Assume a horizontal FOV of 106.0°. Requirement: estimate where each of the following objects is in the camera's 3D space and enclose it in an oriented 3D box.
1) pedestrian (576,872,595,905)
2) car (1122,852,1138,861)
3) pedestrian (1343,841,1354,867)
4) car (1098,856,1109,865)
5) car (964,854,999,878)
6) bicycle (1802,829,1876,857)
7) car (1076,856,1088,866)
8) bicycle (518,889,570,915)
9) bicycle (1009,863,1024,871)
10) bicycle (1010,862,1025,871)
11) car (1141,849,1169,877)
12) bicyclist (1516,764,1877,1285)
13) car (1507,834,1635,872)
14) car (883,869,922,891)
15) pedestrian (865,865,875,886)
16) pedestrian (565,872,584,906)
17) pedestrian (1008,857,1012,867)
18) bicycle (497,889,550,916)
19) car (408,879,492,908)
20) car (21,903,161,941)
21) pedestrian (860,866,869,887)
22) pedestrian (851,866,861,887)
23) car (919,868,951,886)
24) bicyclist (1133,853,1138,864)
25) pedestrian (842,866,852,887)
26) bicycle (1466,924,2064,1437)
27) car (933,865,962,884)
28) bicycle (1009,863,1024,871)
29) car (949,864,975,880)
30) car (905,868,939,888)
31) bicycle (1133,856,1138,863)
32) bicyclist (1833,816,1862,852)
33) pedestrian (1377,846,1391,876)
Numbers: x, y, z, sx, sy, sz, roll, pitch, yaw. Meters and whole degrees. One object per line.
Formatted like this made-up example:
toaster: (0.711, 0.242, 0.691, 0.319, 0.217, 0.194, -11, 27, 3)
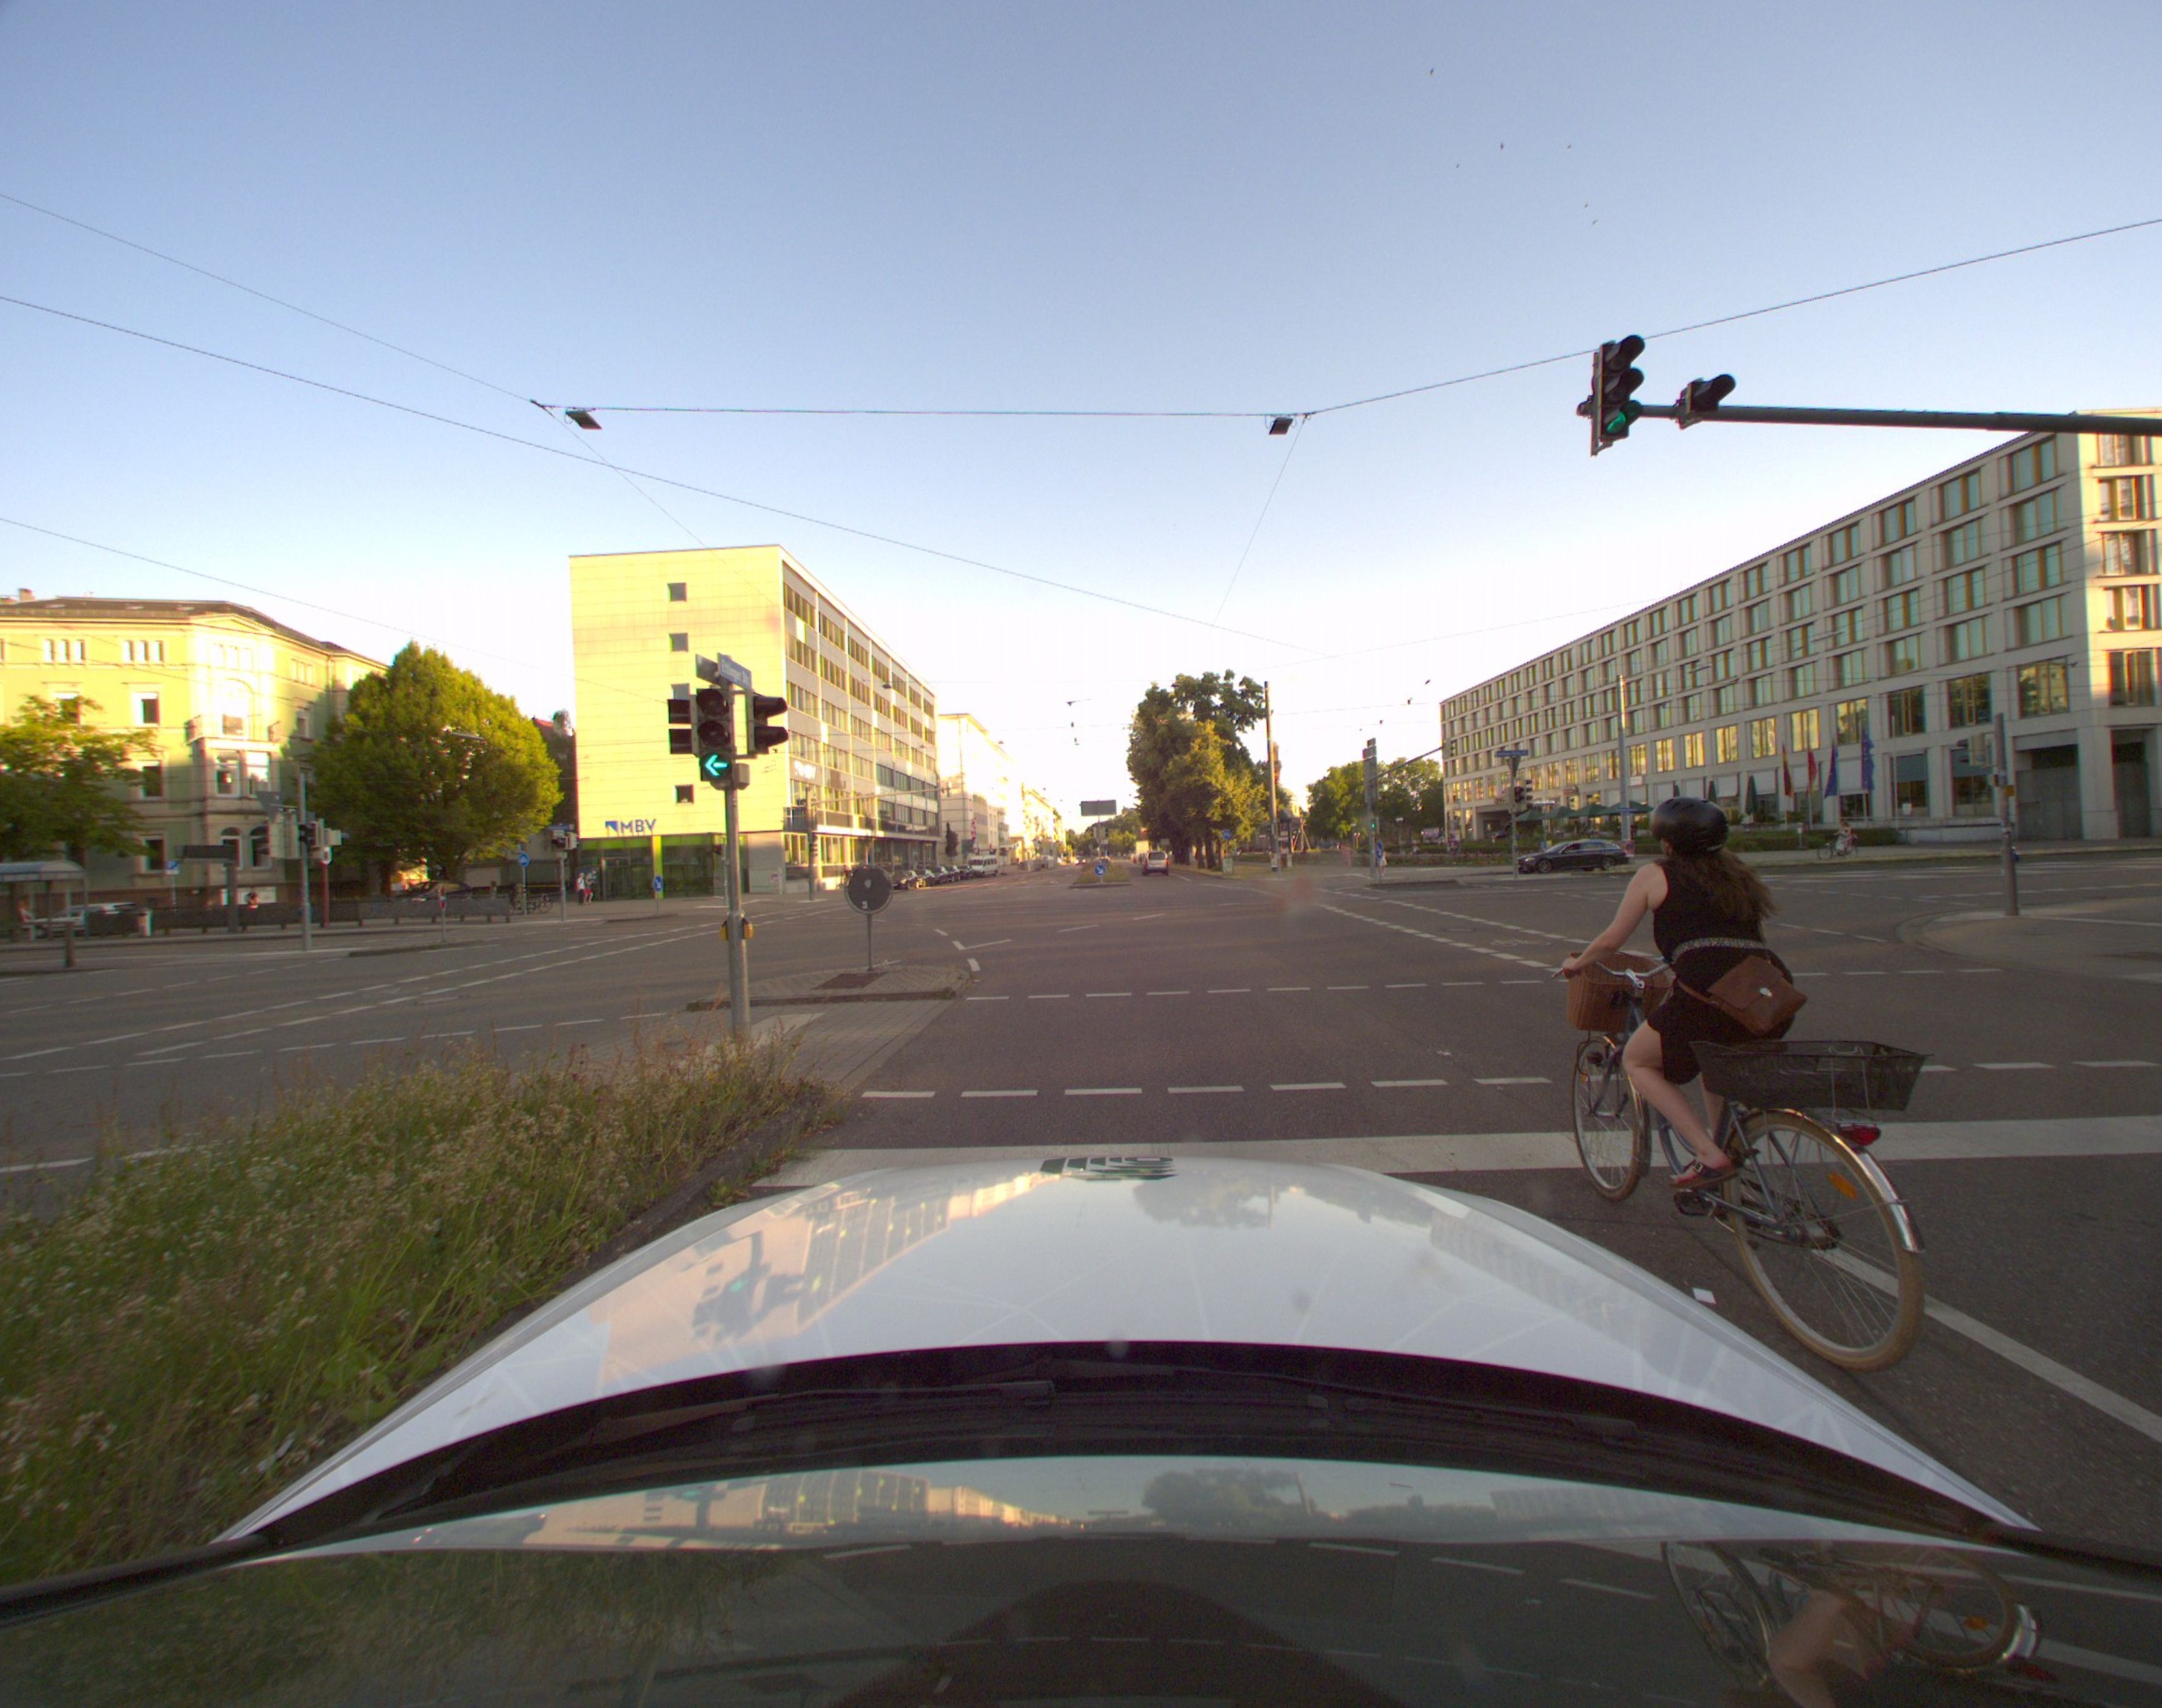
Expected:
pedestrian: (-27.467, 1.918, 45.181, 0.641, 1.790, 0.720, -3, -1, -12)
car: (13.088, 0.643, 215.653, 3.977, 2.013, 1.998, -3, 0, -3)
pedestrian: (17.162, 0.023, 52.265, 0.458, 1.656, 0.567, -3, -1, 1)
car: (4.052, 1.186, 148.803, 1.855, 1.519, 4.003, -3, 0, 3)
car: (-11.053, 1.302, 91.178, 1.988, 2.478, 5.888, -3, 0, 12)
bicycle: (33.970, -0.505, 36.512, 2.762, 1.106, 0.602, -3, -1, -1)
car: (0.170, 1.220, 143.578, 1.855, 1.519, 4.004, -3, 0, 4)
bicycle: (-25.908, 2.311, 39.354, 0.832, 1.112, 2.216, -3, 0, 6)
bicycle: (-9.996, 1.984, 126.674, 2.198, 1.112, 0.689, -3, 0, 0)
bicycle: (-10.022, 1.945, 128.824, 2.198, 1.236, 0.839, -3, 0, 0)
car: (5.531, 0.658, 61.153, 1.756, 1.888, 4.501, -3, 0, 1)
bicyclist: (2.208, 0.540, 3.073, 0.597, 1.636, 0.999, -1, -1, 2)
car: (23.190, -0.028, 38.707, 4.803, 1.515, 2.002, -3, 0, 4)
car: (-13.506, 1.967, 61.855, 1.913, 1.464, 4.105, -3, 0, 2)
pedestrian: (-16.832, 1.725, 65.023, 0.549, 1.679, 0.500, -3, -1, 1)
pedestrian: (-27.534, 1.876, 44.278, 0.641, 1.790, 0.720, -3, -1, -12)
pedestrian: (-14.441, 1.632, 164.941, 0.677, 2.013, 0.545, -3, 0, 1)
bicycle: (-26.831, 2.319, 39.234, 0.832, 1.112, 2.216, -3, 0, 6)
car: (-35.245, 2.196, 45.627, 1.830, 1.372, 3.594, -3, 0, 0)
car: (-45.107, 3.089, 37.195, 3.588, 1.372, 1.833, -3, 0, -15)
pedestrian: (-17.406, 1.808, 65.555, 0.498, 1.679, 0.500, -3, -1, 1)
pedestrian: (-18.076, 1.786, 65.447, 0.549, 1.679, 0.500, -3, -1, 1)
car: (-13.099, 2.041, 73.215, 1.913, 1.464, 4.002, -3, 0, 2)
bicyclist: (8.501, 0.758, 126.906, 0.744, 1.663, 0.873, -3, 0, 1)
pedestrian: (-18.592, 1.782, 64.778, 0.549, 1.679, 0.500, -3, -1, 1)
bicycle: (2.211, 0.917, 3.075, 0.609, 1.132, 2.005, -1, 0, 2)
car: (-12.847, 1.955, 78.518, 1.913, 1.568, 4.002, -3, 0, 2)
bicycle: (-9.959, 1.965, 125.383, 2.198, 1.112, 0.619, -3, 0, 0)
car: (-12.379, 1.855, 84.741, 1.913, 1.568, 4.002, -3, 0, 2)
car: (-13.308, 1.983, 68.403, 1.913, 1.464, 4.002, -3, 0, 2)
bicycle: (8.499, 0.852, 127.309, 0.744, 1.144, 2.506, -3, 0, 2)
bicyclist: (34.386, -0.893, 36.533, 0.705, 1.537, 0.577, -3, -1, -1)
pedestrian: (15.878, 0.375, 42.684, 0.489, 1.540, 0.408, -3, -1, 1)
